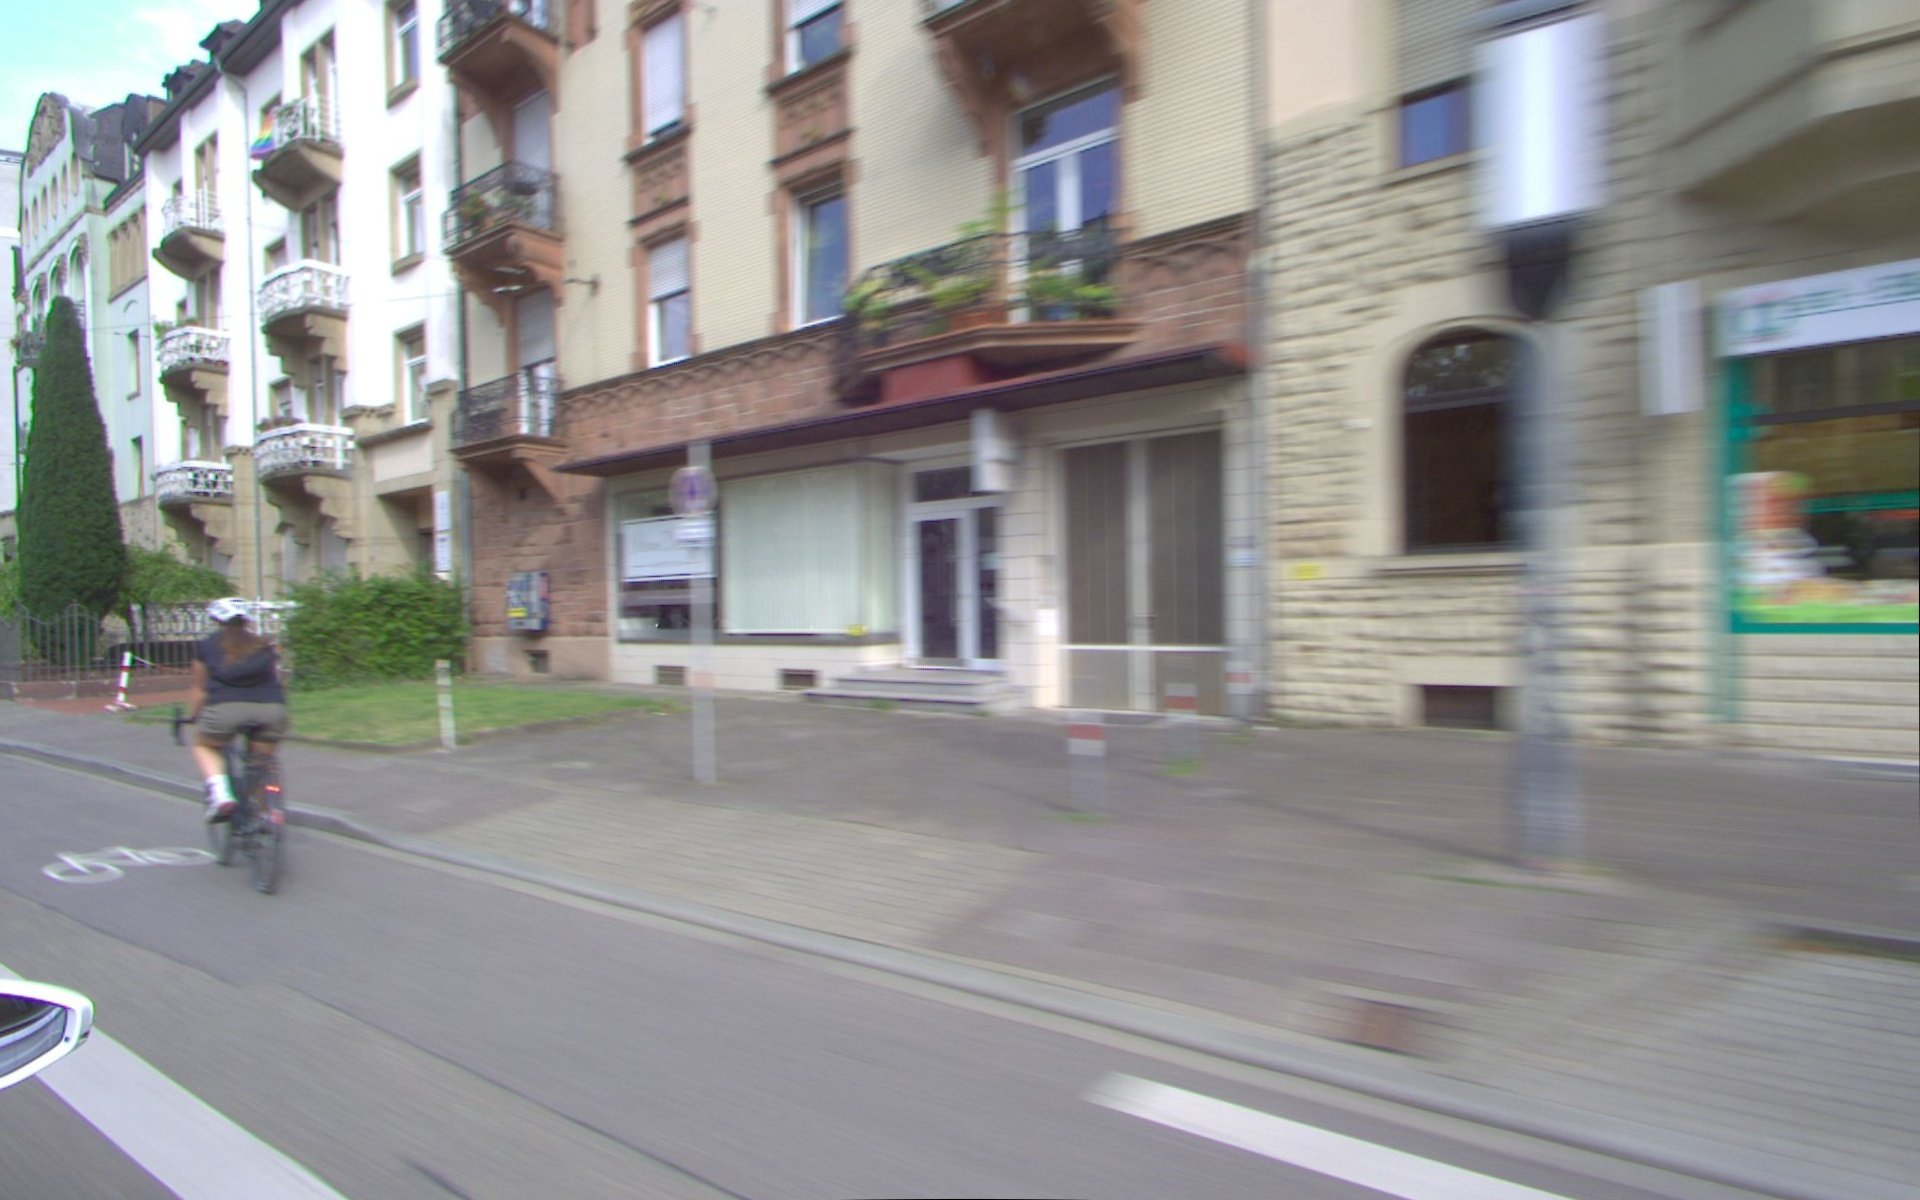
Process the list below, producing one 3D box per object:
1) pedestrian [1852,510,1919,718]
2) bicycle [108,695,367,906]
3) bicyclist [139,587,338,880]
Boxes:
[{"bbox_3d":[7.483,0.108,7.977,0.501,1.601,0.557,0,1,36],"label":"pedestrian"},{"bbox_3d":[-4.428,1.129,6.077,2.044,0.993,0.637,-1,-2,35],"label":"bicycle"},{"bbox_3d":[-4.338,0.742,6.018,1.095,1.590,0.637,-1,-1,35],"label":"bicyclist"}]
